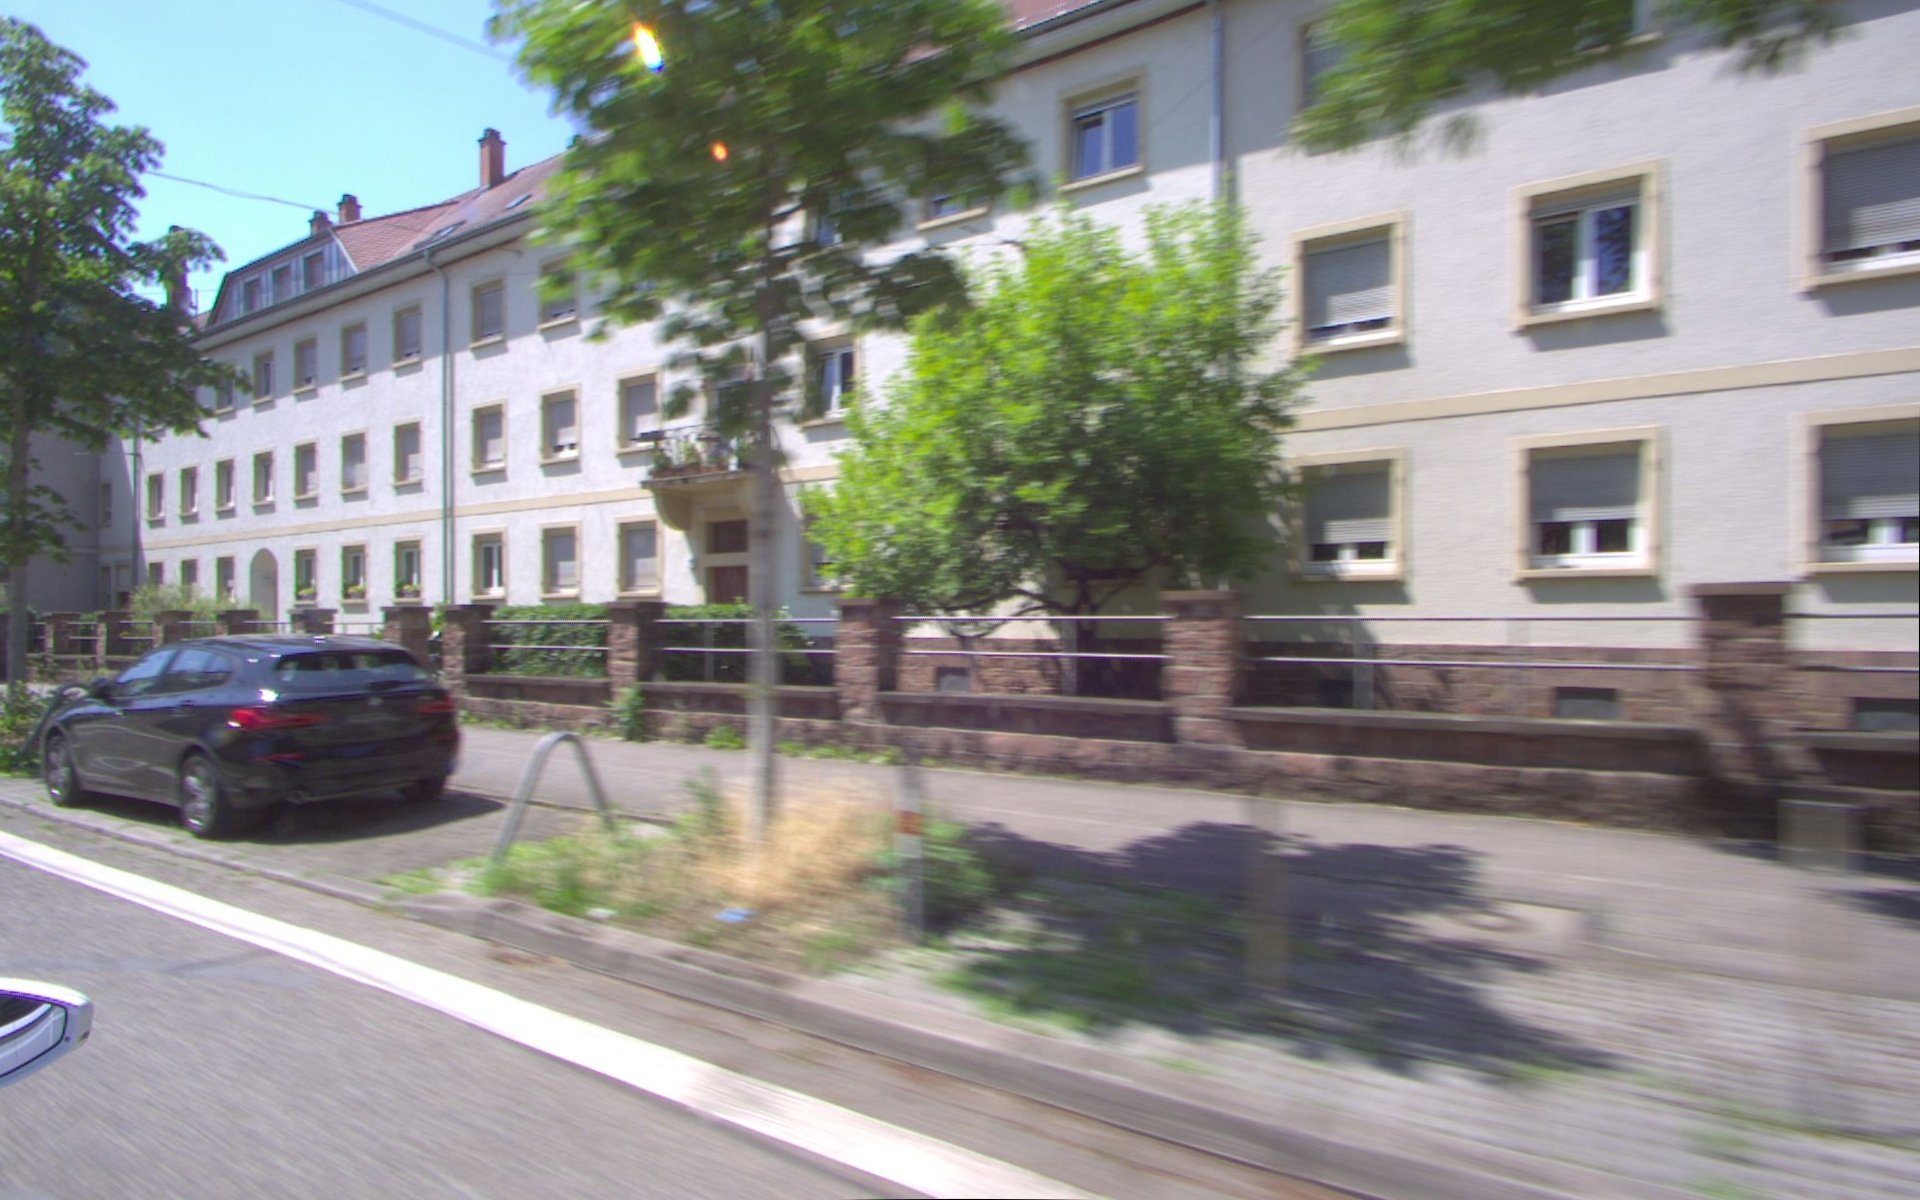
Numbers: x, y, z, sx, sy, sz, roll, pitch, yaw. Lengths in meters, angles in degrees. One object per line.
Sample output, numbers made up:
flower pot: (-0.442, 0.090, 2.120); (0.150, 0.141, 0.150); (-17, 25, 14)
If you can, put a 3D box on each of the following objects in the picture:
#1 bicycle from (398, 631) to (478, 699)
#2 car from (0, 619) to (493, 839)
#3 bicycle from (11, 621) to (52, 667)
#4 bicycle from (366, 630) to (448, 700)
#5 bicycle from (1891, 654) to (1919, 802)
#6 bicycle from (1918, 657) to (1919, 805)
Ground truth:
bicycle: (-9.192, 1.112, 17.600); (1.782, 1.117, 0.497); (0, 0, 35)
car: (-6.359, 0.909, 8.728); (4.789, 1.445, 1.767); (0, -1, 30)
bicycle: (-25.230, 1.173, 27.207); (1.542, 1.207, 0.458); (0, 0, 33)
bicycle: (-9.332, 1.071, 16.877); (1.782, 1.117, 0.497); (0, 0, 35)
bicycle: (8.100, 0.961, 7.273); (1.894, 1.092, 0.478); (0, 0, 27)
bicycle: (7.859, 0.958, 6.800); (1.894, 1.092, 0.478); (0, 0, 27)
